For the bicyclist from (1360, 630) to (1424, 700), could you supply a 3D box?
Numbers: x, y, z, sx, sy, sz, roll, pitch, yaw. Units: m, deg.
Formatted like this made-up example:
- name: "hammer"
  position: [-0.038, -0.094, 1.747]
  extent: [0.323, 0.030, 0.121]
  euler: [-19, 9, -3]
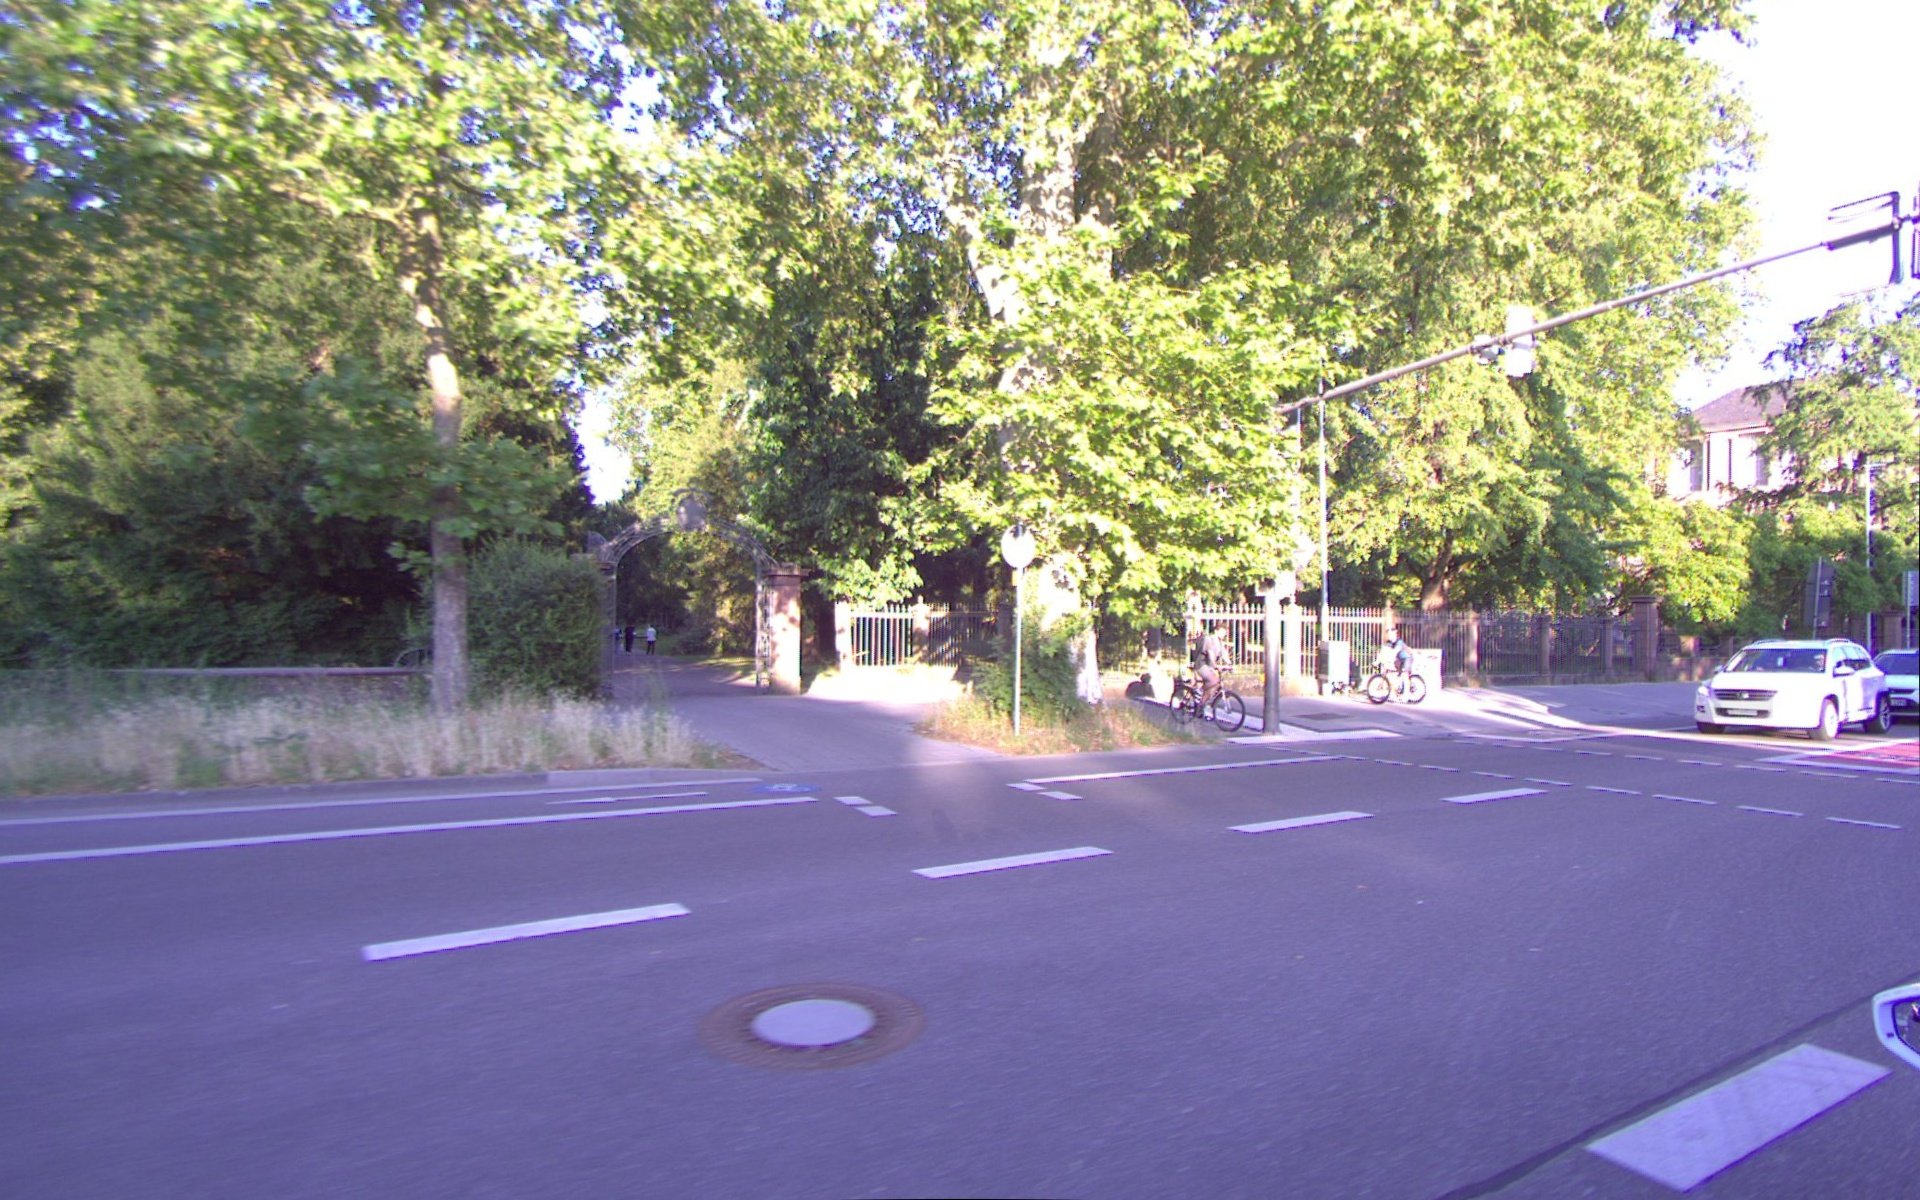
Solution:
- name: "bicyclist"
  position: [9.530, 1.417, 22.156]
  extent: [0.932, 1.451, 0.851]
  euler: [1, 1, -29]

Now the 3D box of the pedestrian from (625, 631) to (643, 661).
- name: "pedestrian"
  position: [-18.630, 2.597, 57.320]
  extent: [0.892, 1.682, 0.870]
  euler: [1, -1, -23]

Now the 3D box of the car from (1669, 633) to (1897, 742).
- name: "car"
  position: [14.674, 1.478, 17.854]
  extent: [4.380, 1.717, 1.905]
  euler: [2, -3, -34]

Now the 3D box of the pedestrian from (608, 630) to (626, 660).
- name: "pedestrian"
  position: [-19.602, 2.558, 57.334]
  extent: [0.892, 1.682, 0.870]
  euler: [1, -1, -23]

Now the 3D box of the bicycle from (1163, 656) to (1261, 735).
- name: "bicycle"
  position: [4.303, 1.606, 17.264]
  extent: [0.568, 1.245, 1.614]
  euler: [2, -2, -39]

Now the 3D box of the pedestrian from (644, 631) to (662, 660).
- name: "pedestrian"
  position: [-17.708, 2.630, 57.912]
  extent: [0.892, 1.682, 0.870]
  euler: [1, -1, -23]

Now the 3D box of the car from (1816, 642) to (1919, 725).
- name: "car"
  position: [20.061, 1.692, 21.115]
  extent: [4.625, 1.604, 1.905]
  euler: [2, -4, -34]

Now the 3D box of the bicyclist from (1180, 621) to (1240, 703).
- name: "bicyclist"
  position: [4.306, 1.052, 17.316]
  extent: [0.568, 1.379, 0.830]
  euler: [2, -2, -40]

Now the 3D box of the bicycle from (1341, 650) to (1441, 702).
- name: "bicycle"
  position: [9.499, 1.650, 22.130]
  extent: [2.171, 1.029, 0.851]
  euler: [2, 1, -29]
